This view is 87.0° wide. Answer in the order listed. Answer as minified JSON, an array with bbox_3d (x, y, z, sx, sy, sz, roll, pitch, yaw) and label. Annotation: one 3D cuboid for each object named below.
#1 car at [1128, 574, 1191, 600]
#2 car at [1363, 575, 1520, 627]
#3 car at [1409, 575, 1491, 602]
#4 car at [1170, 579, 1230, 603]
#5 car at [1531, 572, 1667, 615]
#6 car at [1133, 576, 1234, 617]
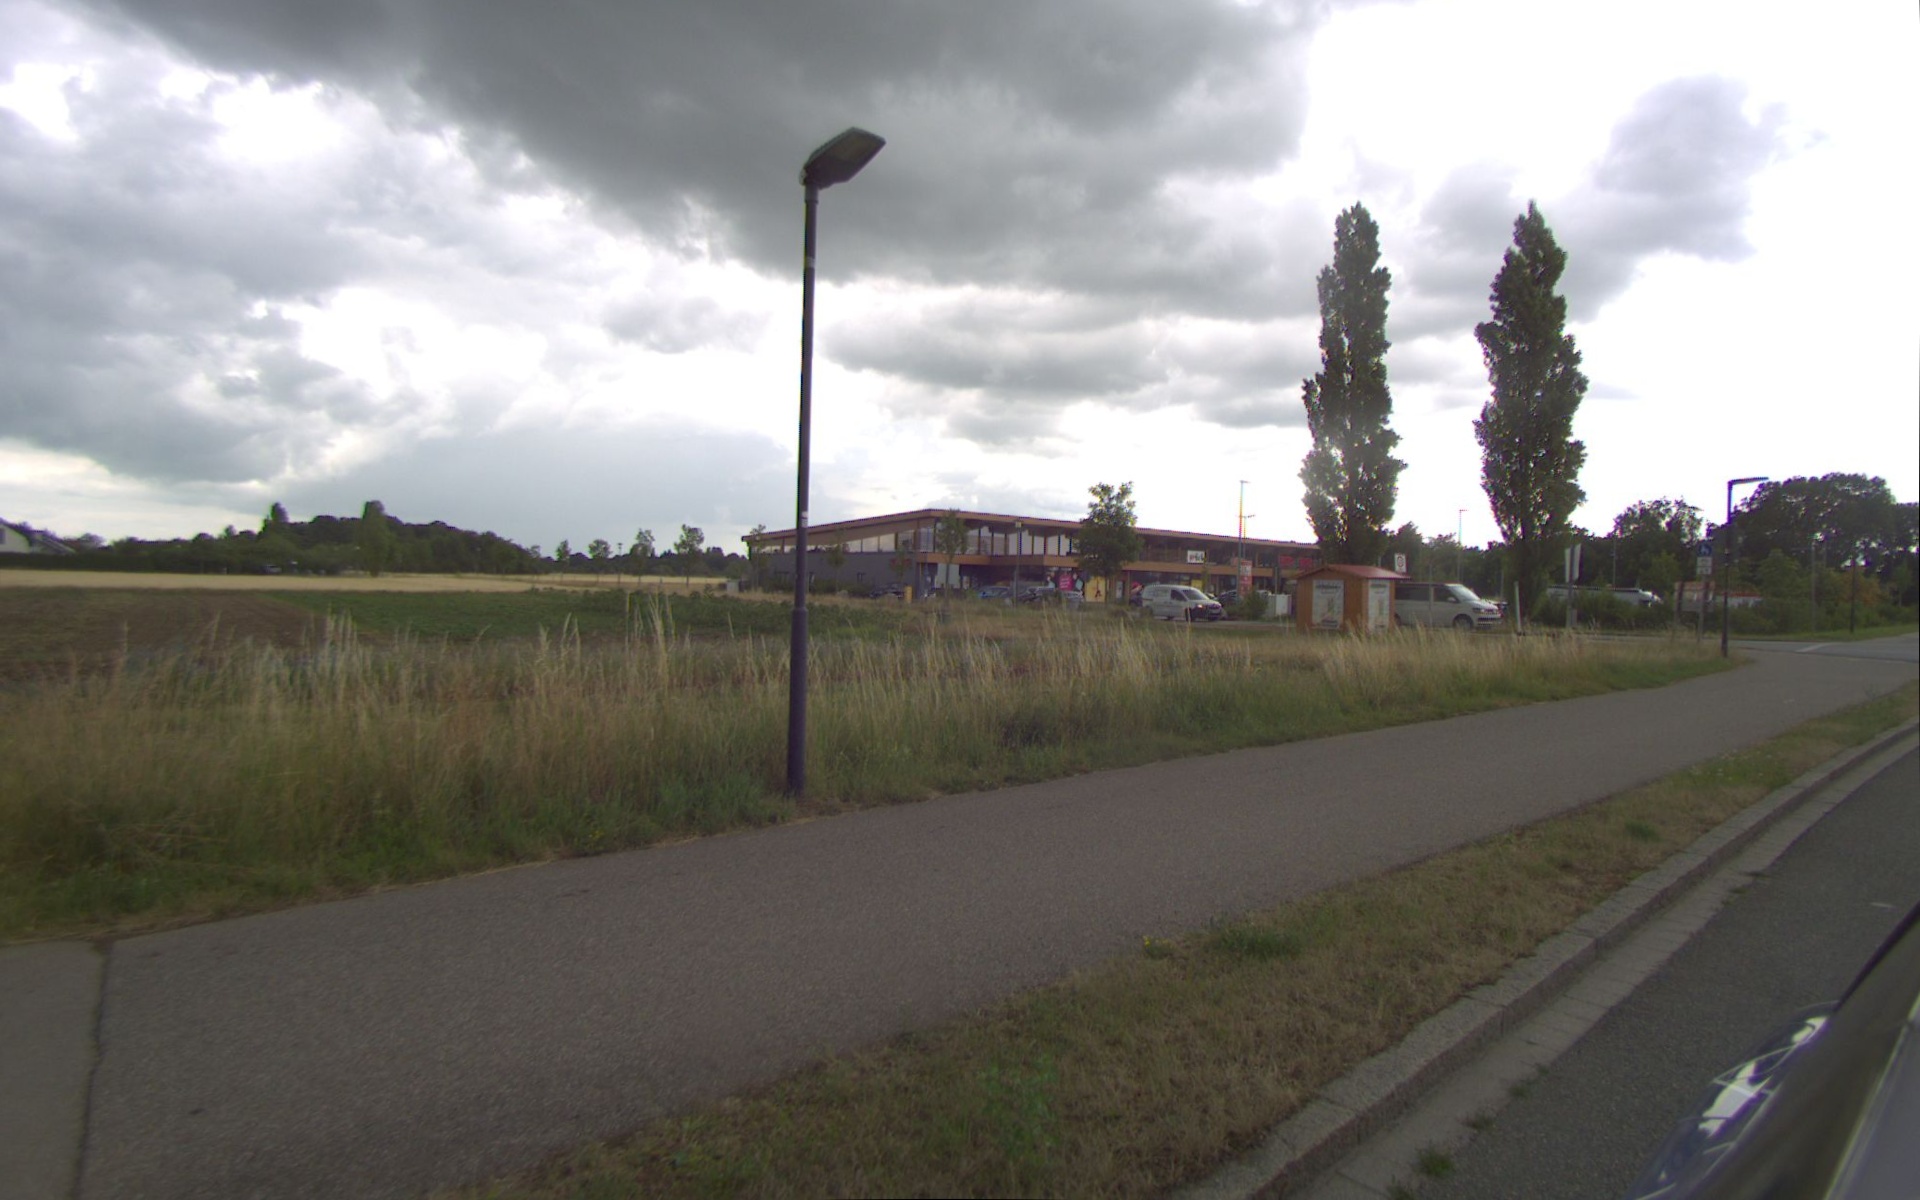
[{"bbox_3d":[16.738,-1.076,84.955,4.840,2.039,1.970,0,0,43],"label":"car"},{"bbox_3d":[19.835,0.028,41.926,2.516,2.039,5.312,-1,0,-39],"label":"car"},{"bbox_3d":[38.558,-0.894,79.694,5.510,2.039,1.969,0,0,44],"label":"car"},{"bbox_3d":[21.281,-0.754,89.781,4.840,2.039,1.970,0,0,43],"label":"car"},{"bbox_3d":[31.991,-0.303,50.814,5.510,2.039,1.969,0,0,44],"label":"car"},{"bbox_3d":[11.614,-0.186,53.028,1.961,2.039,5.320,-1,0,-32],"label":"car"}]
